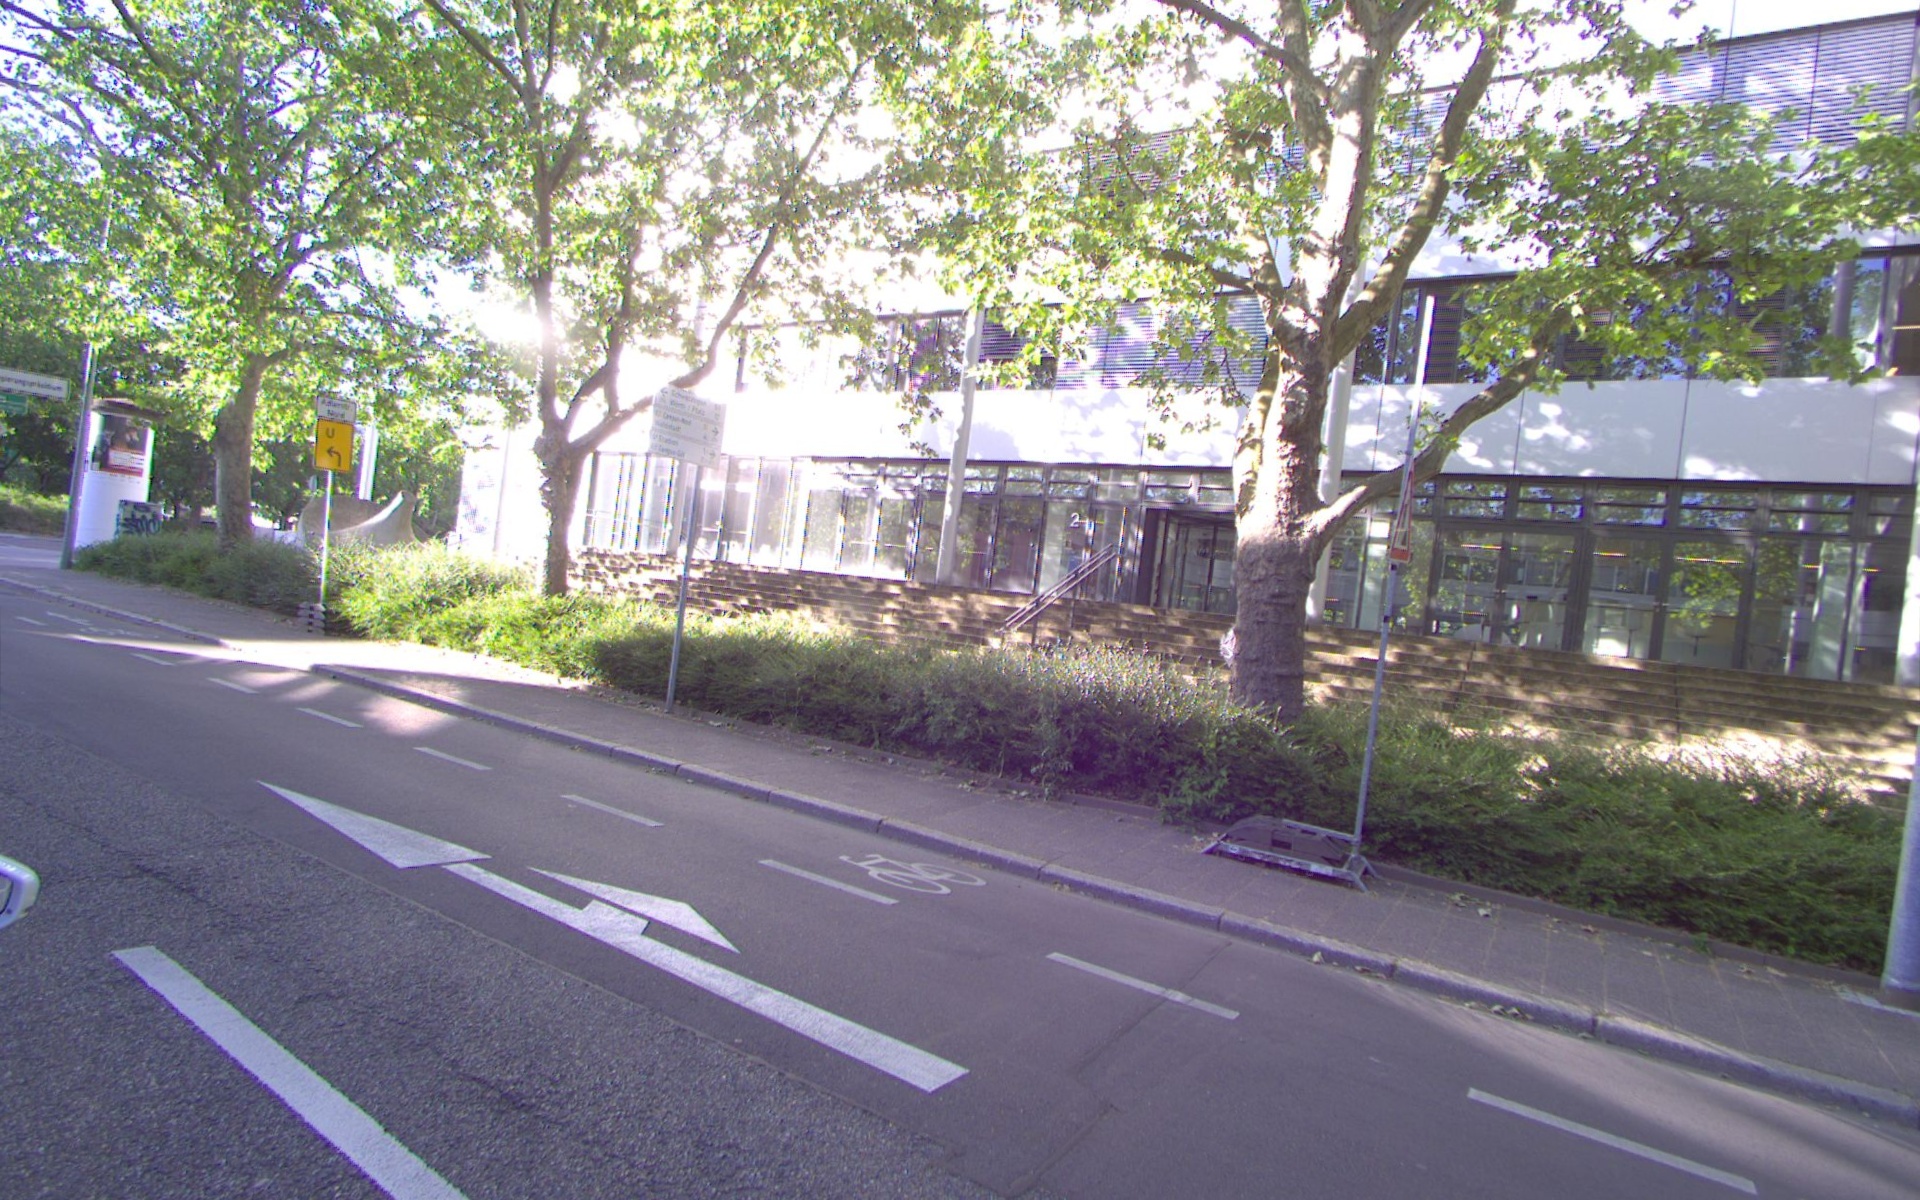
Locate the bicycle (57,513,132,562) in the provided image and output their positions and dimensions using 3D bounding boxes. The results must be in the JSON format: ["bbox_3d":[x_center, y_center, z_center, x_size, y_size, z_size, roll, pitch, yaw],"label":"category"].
[{"bbox_3d":[-25.632,-1.851,29.783,2.136,1.186,0.718,7,-1,23],"label":"bicycle"}]

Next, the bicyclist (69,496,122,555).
[{"bbox_3d":[-25.599,-2.206,29.802,0.919,1.601,0.719,7,-1,23],"label":"bicyclist"}]

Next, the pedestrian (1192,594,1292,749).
[{"bbox_3d":[3.561,0.893,12.674,0.848,1.802,0.785,7,0,30],"label":"pedestrian"}]
